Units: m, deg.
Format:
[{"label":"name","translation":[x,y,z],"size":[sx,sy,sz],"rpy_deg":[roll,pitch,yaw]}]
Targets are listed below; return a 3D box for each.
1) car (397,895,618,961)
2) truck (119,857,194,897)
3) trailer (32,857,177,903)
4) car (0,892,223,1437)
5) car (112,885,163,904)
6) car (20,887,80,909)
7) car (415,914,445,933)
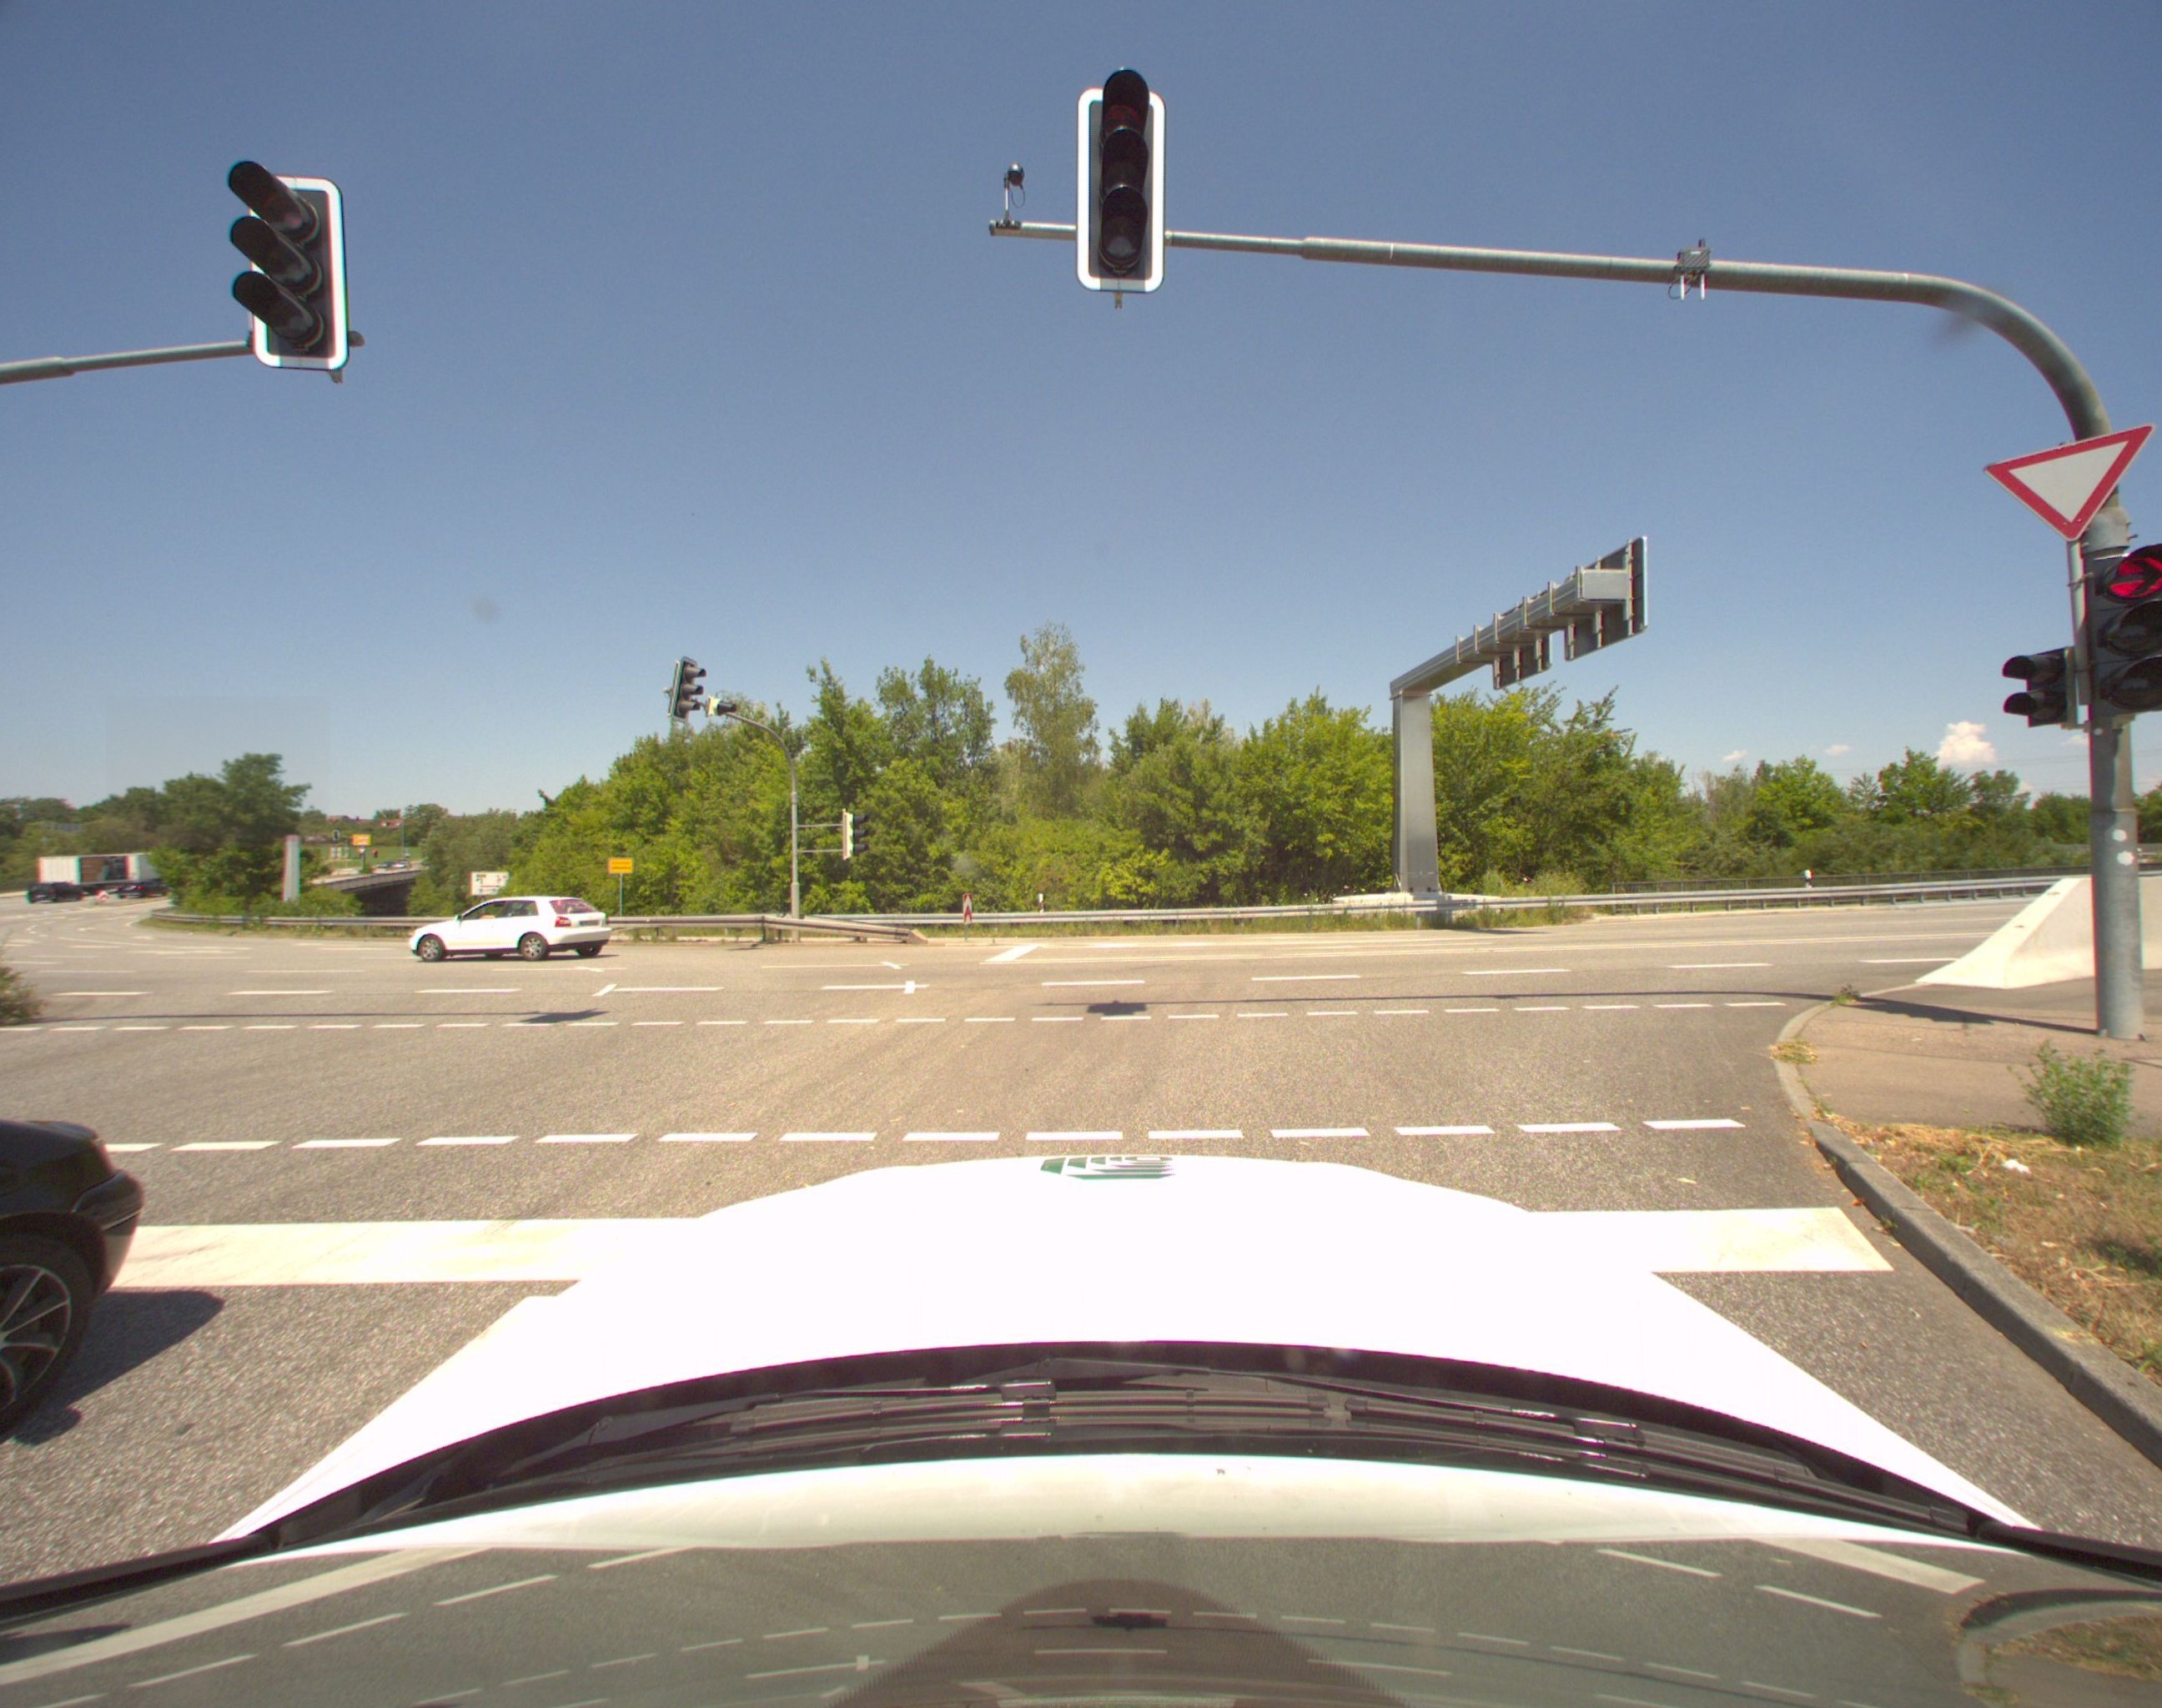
[{"label":"car","translation":[-12.823,1.655,18.324],"size":[3.954,1.396,1.650],"rpy_deg":[-1,-4,9]},{"label":"truck","translation":[-104.521,2.507,92.204],"size":[3.246,4.248,6.188],"rpy_deg":[0,0,-24]},{"label":"trailer","translation":[-101.494,2.510,85.249],"size":[3.246,4.248,15.285],"rpy_deg":[0,0,-24]},{"label":"car","translation":[-3.610,0.829,1.026],"size":[1.615,1.407,3.297],"rpy_deg":[-1,-1,-2]},{"label":"car","translation":[-91.017,3.858,78.608],"size":[1.887,1.622,3.964],"rpy_deg":[0,0,-28]},{"label":"car","translation":[-92.378,3.919,73.047],"size":[1.890,1.732,3.964],"rpy_deg":[0,0,-28]},{"label":"car","translation":[-54.961,5.839,68.809],"size":[1.820,1.434,4.363],"rpy_deg":[3,-5,-37]}]
